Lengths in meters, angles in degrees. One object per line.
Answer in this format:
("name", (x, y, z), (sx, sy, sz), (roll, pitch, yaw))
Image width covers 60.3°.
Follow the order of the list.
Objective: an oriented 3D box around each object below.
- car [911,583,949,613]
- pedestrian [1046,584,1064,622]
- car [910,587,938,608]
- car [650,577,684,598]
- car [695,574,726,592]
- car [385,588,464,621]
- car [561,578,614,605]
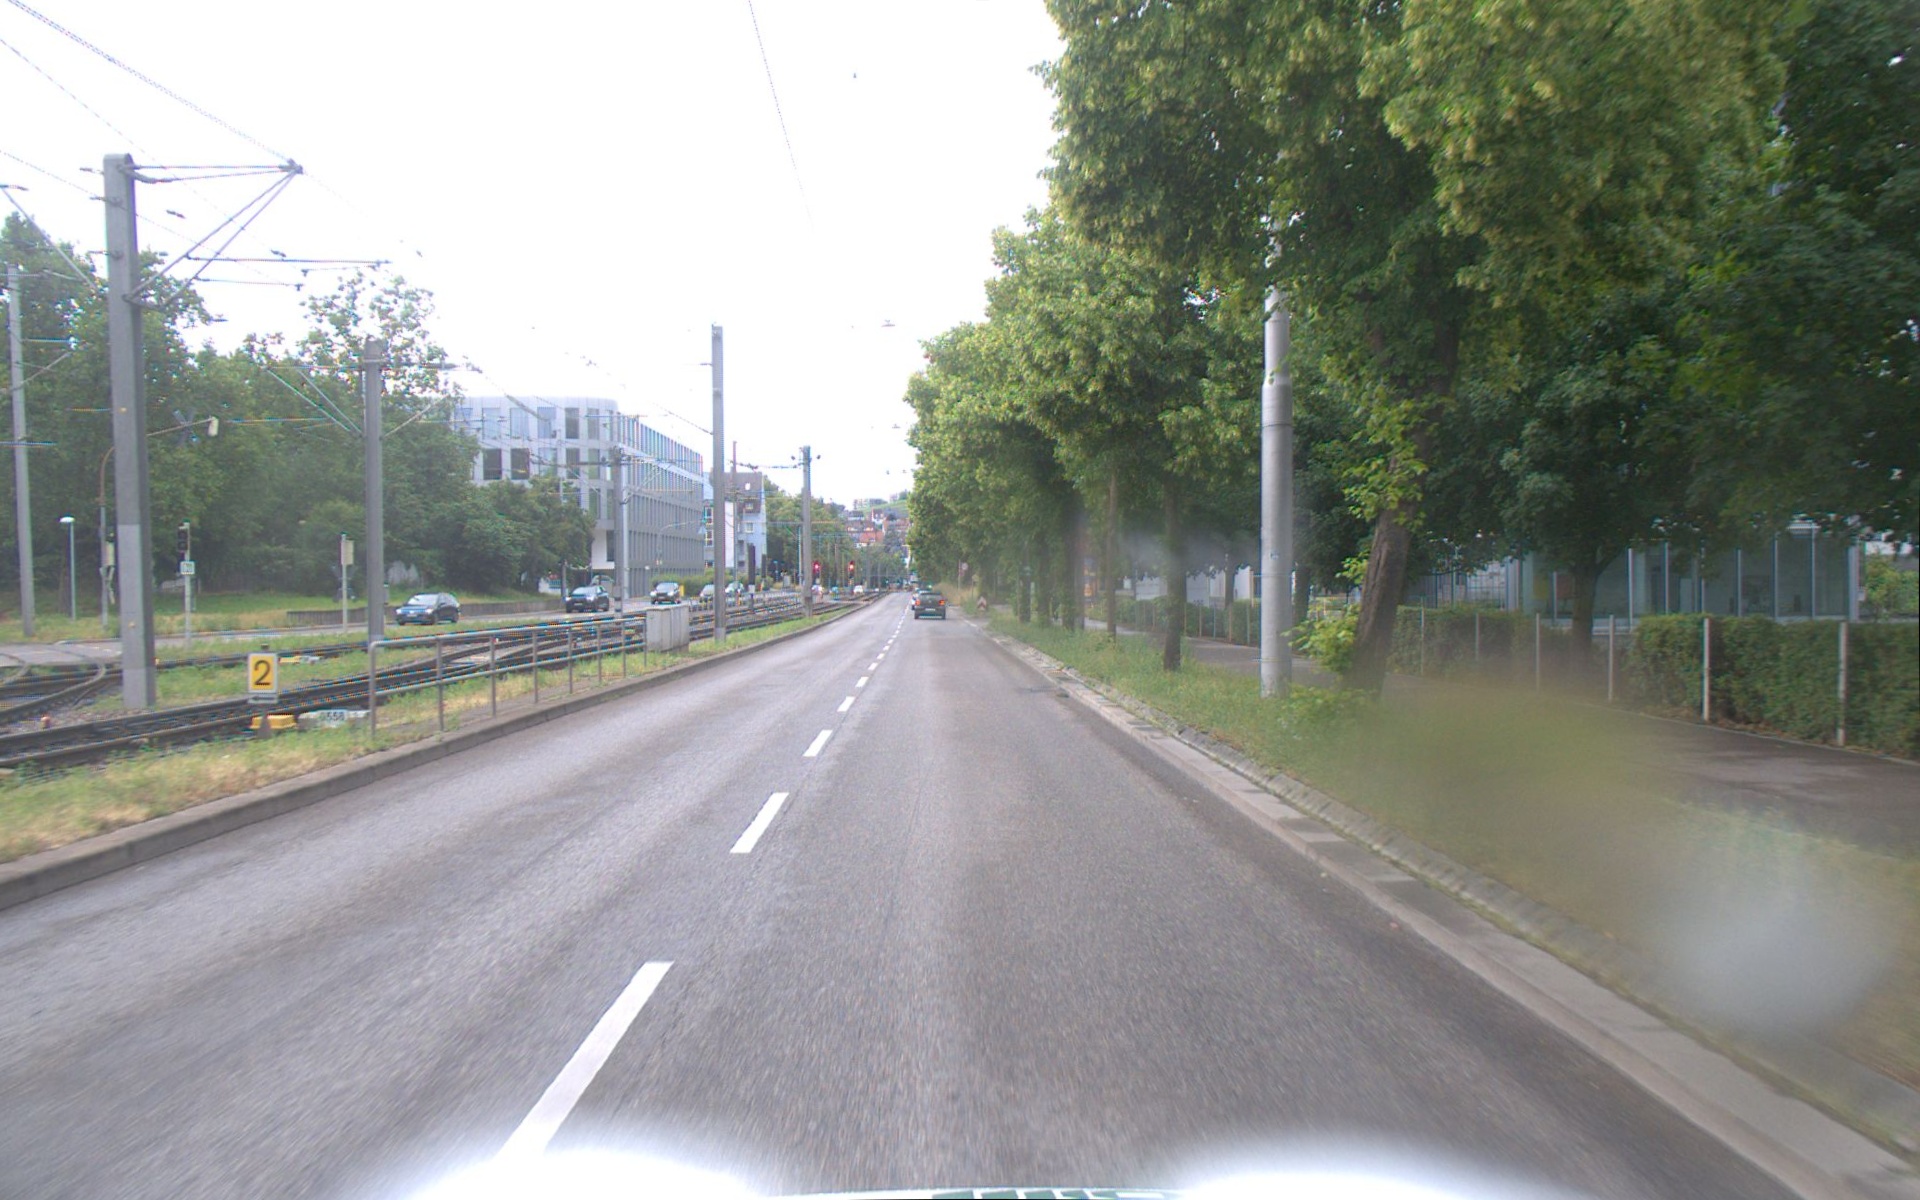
("car", (-1.586, -0.119, 86.916), (1.942, 1.466, 4.473), (-1, 1, -1))
("pedestrian", (4.510, 0.137, 78.492), (0.809, 1.828, 0.867), (0, 0, -1))
("car", (-2.602, -0.199, 118.903), (1.942, 1.466, 4.473), (-1, 1, -1))
("car", (-23.375, -0.989, 132.047), (1.908, 1.623, 4.847), (-1, 1, 0))
("car", (-20.800, -1.422, 137.980), (1.852, 1.512, 4.309), (-1, 1, 1))
("car", (-25.053, 0.197, 77.597), (1.886, 1.472, 4.685), (-1, 1, 4))
("car", (-23.800, -0.566, 105.840), (2.046, 1.616, 5.160), (-1, 1, 1))
